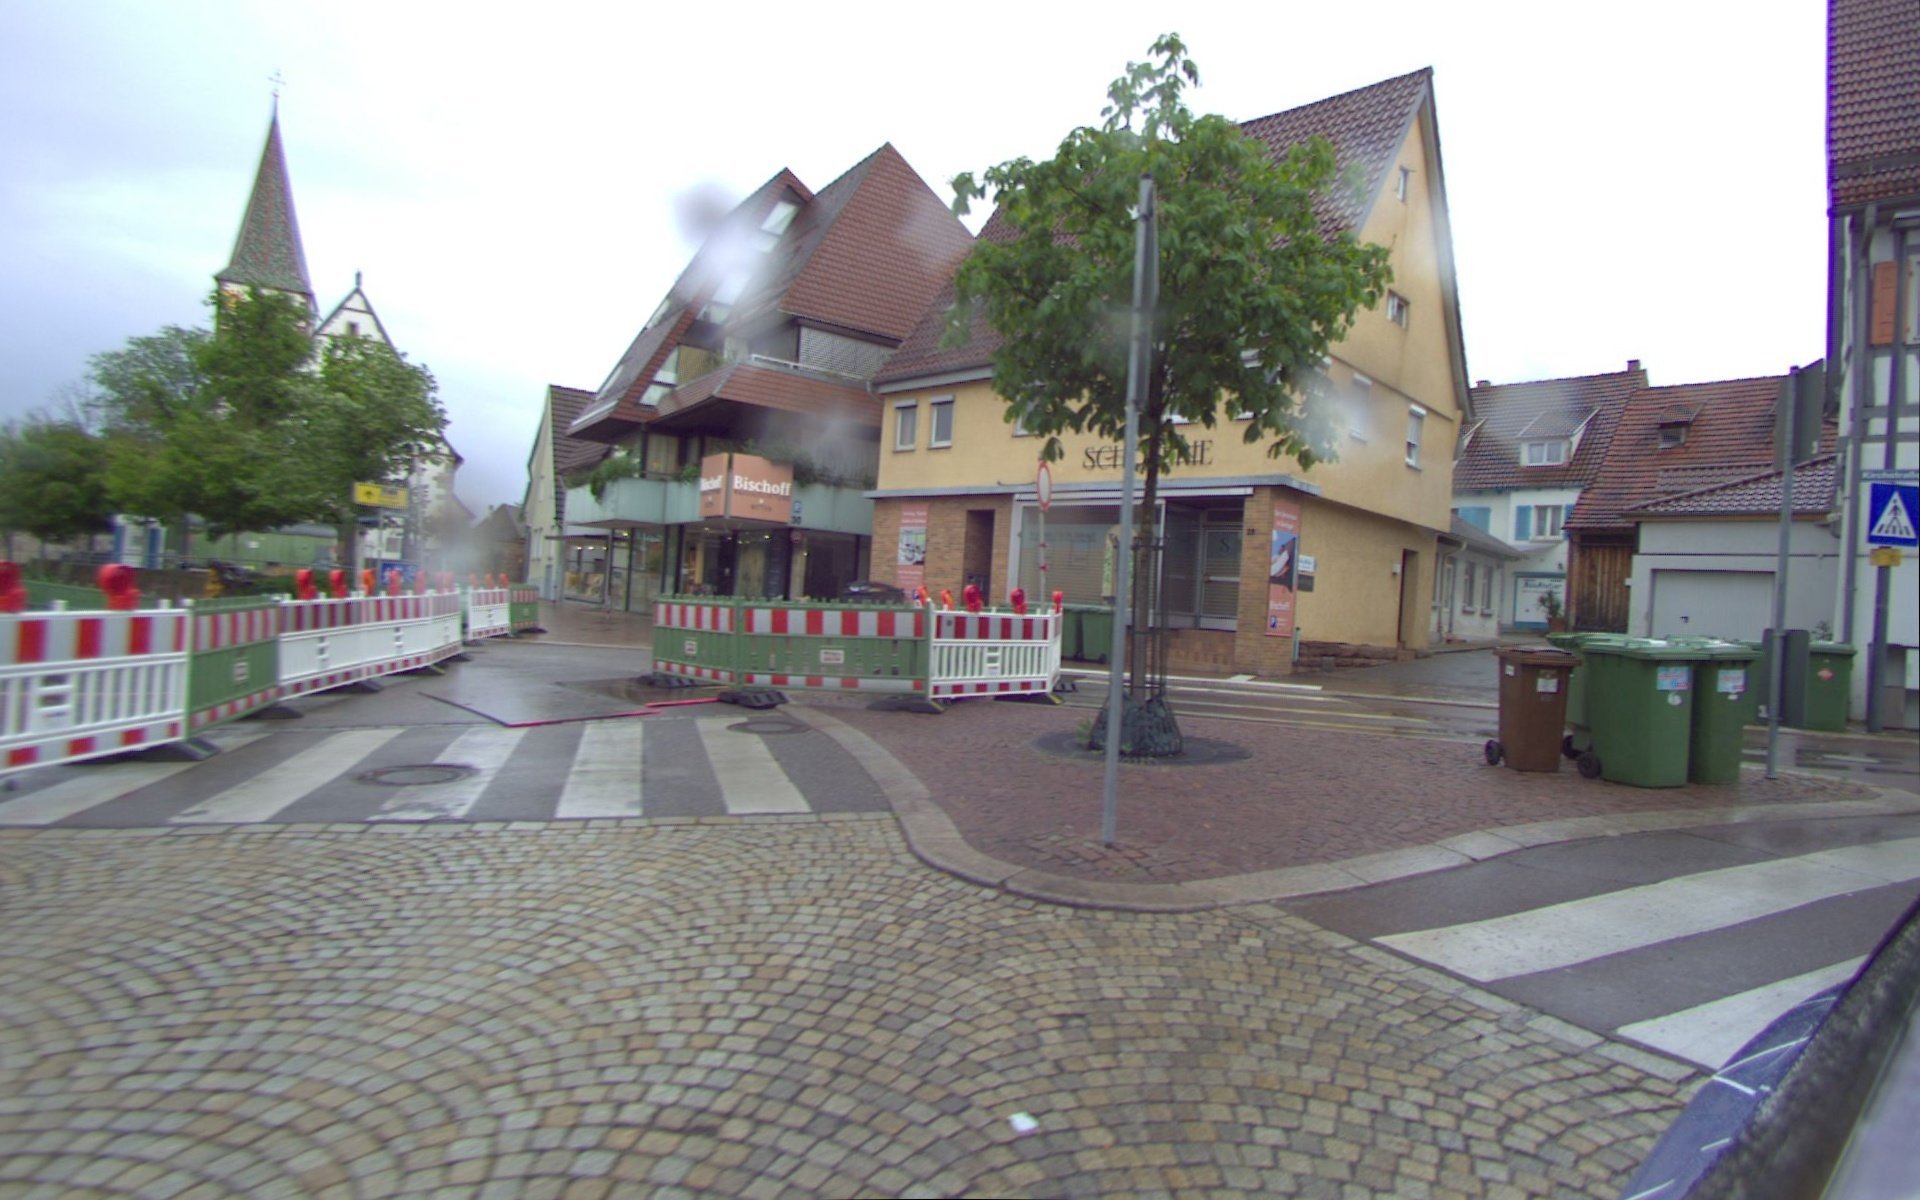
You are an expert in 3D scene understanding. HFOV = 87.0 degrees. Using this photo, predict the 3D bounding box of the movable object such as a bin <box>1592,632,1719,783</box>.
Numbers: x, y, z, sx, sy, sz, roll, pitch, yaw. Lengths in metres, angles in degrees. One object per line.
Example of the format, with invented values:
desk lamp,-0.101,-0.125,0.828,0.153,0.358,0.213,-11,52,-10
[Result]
movable object such as a bin,5.147,0.774,7.505,0.530,1.050,0.573,1,-1,-19

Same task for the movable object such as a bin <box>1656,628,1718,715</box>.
movable object such as a bin,9.628,0.927,13.405,0.584,1.079,0.671,3,0,40

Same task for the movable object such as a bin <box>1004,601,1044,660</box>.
movable object such as a bin,1.299,0.609,20.605,0.578,1.142,0.510,4,3,41

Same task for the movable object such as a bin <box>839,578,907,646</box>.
movable object such as a bin,-2.070,0.265,24.061,1.051,1.531,1.239,0,2,-45

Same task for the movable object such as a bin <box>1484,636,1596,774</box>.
movable object such as a bin,4.545,0.809,7.959,0.501,1.017,0.569,1,0,-10

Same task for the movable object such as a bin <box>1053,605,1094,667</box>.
movable object such as a bin,2.221,0.697,19.778,0.578,1.142,0.510,4,3,41

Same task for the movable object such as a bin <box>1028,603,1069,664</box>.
movable object such as a bin,1.769,0.650,20.183,0.578,1.147,0.510,5,4,41

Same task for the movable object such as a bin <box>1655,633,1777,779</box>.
movable object such as a bin,5.747,0.782,7.703,0.533,1.046,0.535,1,-1,-19

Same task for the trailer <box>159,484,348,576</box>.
trailer,-28.008,-2.679,40.383,1.985,2.985,5.731,2,-2,32

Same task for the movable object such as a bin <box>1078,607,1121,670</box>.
movable object such as a bin,2.669,0.731,19.370,0.578,1.146,0.511,4,3,41

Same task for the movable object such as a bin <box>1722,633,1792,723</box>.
movable object such as a bin,10.096,0.972,12.816,0.606,1.079,0.540,2,0,-36

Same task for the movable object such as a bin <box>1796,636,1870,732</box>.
movable object such as a bin,10.641,1.007,12.354,0.536,1.079,0.673,3,1,31
